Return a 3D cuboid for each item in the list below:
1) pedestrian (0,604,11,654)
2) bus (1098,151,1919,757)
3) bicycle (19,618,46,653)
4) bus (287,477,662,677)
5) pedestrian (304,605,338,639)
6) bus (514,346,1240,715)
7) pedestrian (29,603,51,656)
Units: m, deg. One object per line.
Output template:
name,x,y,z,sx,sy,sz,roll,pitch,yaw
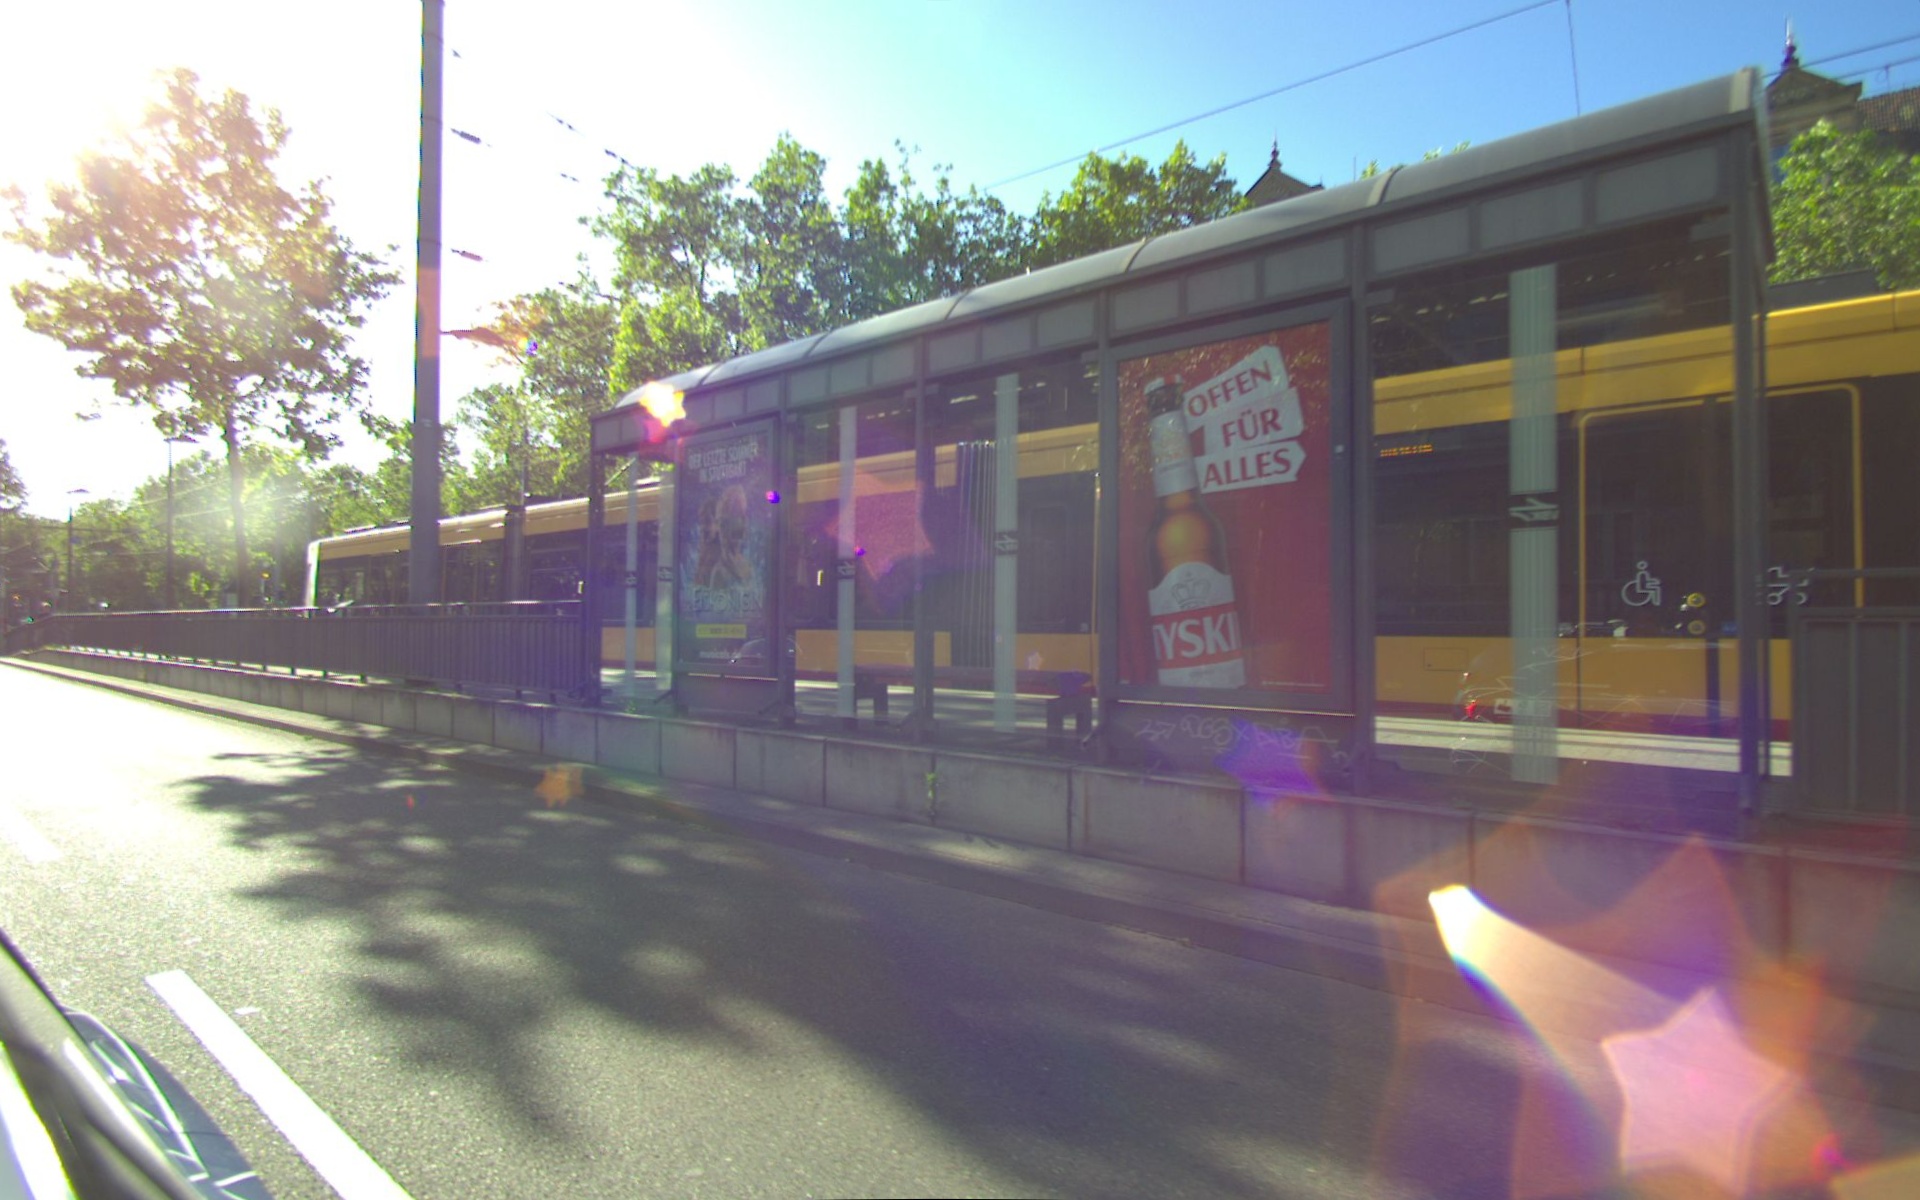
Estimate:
pedestrian,-37.614,1.113,39.210,1.126,1.931,1.061,-1,-2,39
bus,6.575,-0.825,6.720,11.606,3.470,2.839,-2,-2,42
bicycle,-33.504,1.286,36.550,1.825,1.223,0.325,-1,-2,36
bus,-11.642,-0.237,22.992,13.212,3.470,2.838,-2,-2,42
pedestrian,-32.015,1.111,50.702,0.890,1.656,1.167,0,-1,34
bus,-2.290,-0.510,14.633,12.210,3.470,2.839,-2,-2,42
pedestrian,-33.723,1.090,37.111,0.583,1.917,0.447,-1,-2,34
